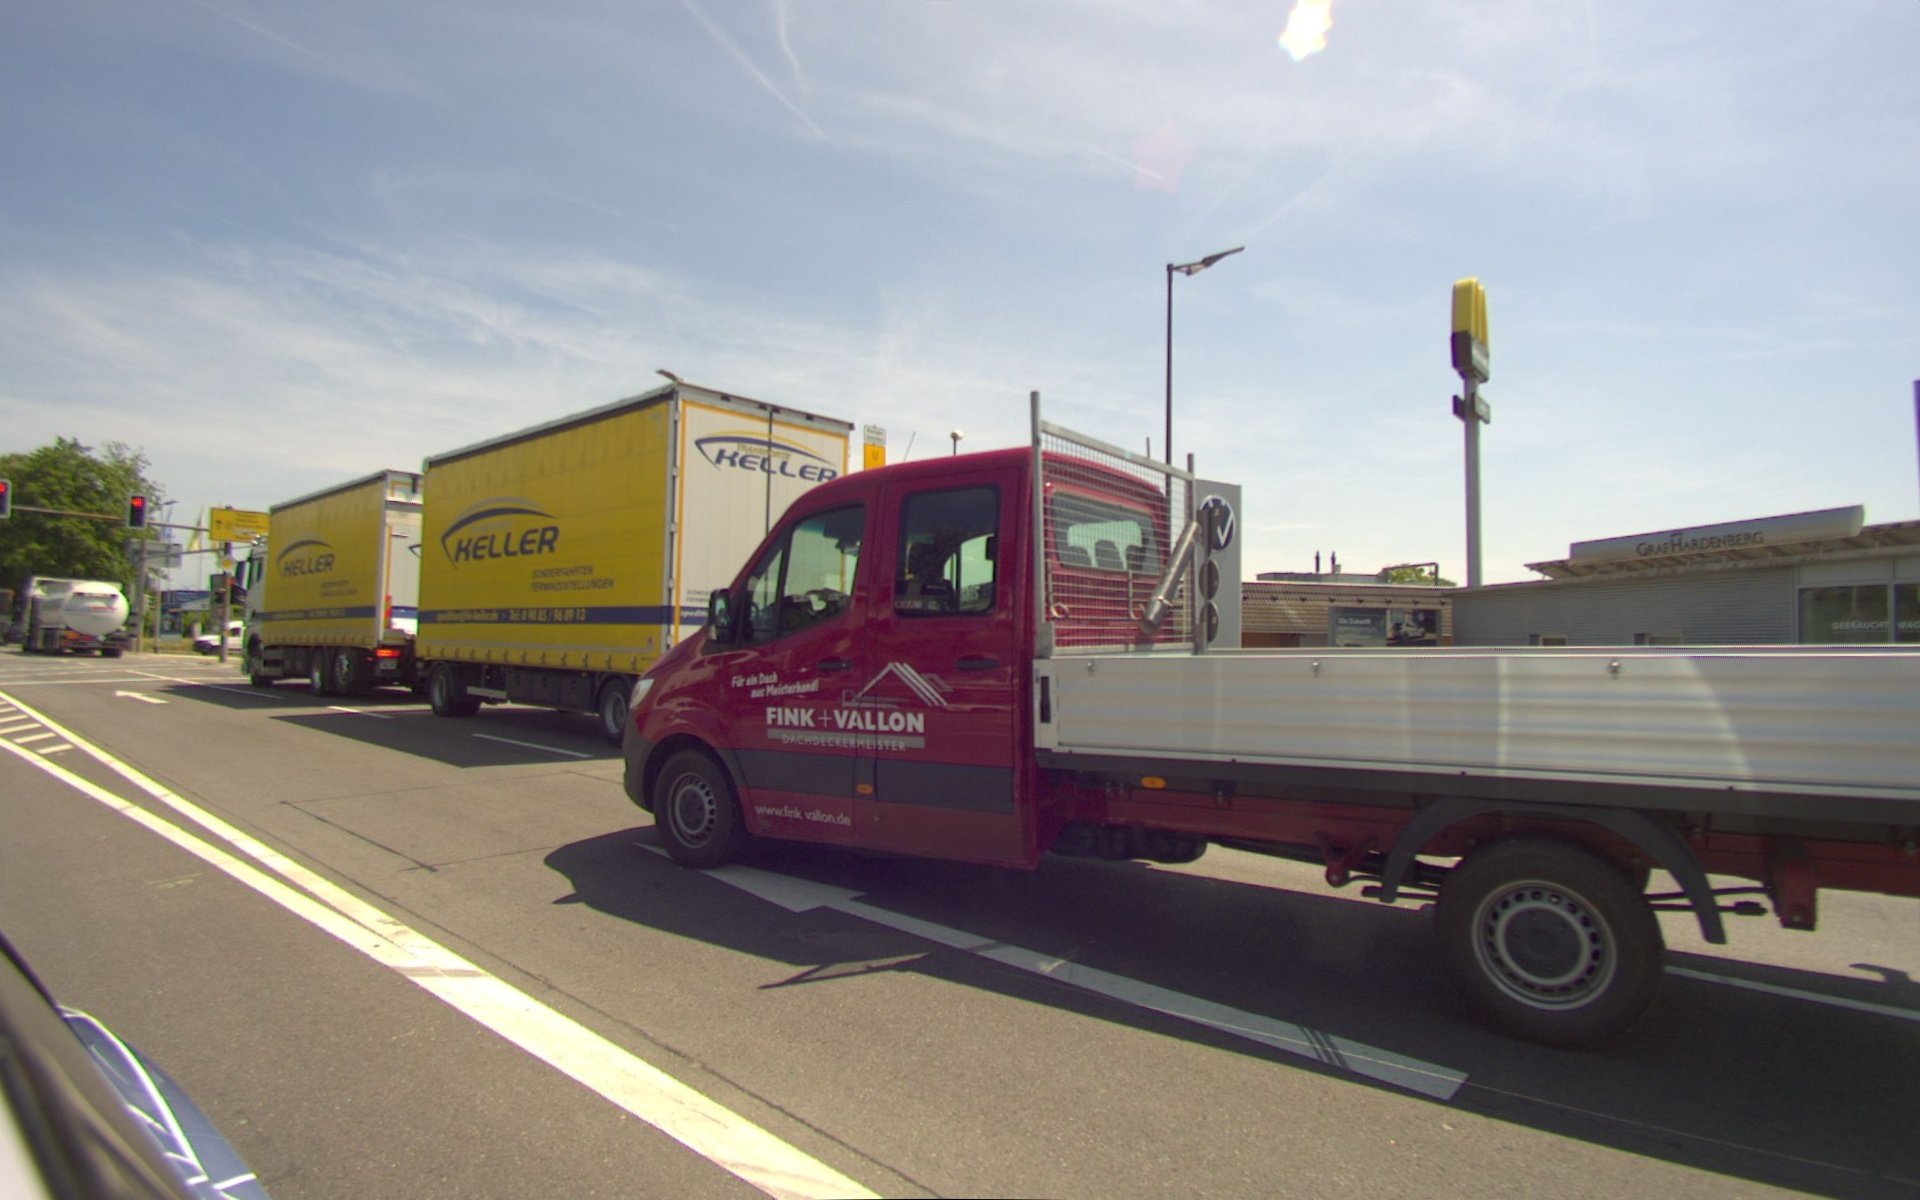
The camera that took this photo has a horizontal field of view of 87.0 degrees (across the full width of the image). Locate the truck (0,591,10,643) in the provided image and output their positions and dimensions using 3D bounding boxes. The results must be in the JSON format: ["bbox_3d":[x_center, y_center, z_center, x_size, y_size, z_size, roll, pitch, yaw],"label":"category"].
[{"bbox_3d":[-80.998,1.477,83.228,17.085,3.985,2.813,-2,-4,43],"label":"truck"}]

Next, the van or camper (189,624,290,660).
[{"bbox_3d":[-50.613,2.958,71.233,2.094,2.431,5.398,-1,-3,38],"label":"van or camper"}]

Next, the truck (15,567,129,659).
[{"bbox_3d":[-44.675,0.757,50.644,15.127,4.049,2.577,-2,-3,42],"label":"truck"}]

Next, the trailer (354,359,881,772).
[{"bbox_3d":[-5.687,-0.233,15.089,10.058,4.319,2.978,-2,-3,43],"label":"trailer"}]

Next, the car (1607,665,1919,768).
[{"bbox_3d":[13.301,1.874,17.058,1.742,1.426,3.991,1,-3,-10],"label":"car"}]

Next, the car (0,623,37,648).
[{"bbox_3d":[-61.190,2.284,65.518,4.153,1.439,1.665,0,-4,42],"label":"car"}]

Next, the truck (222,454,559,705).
[{"bbox_3d":[-12.338,-0.189,21.252,10.353,4.136,2.996,-1,-3,43],"label":"truck"}]

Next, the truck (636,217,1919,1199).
[{"bbox_3d":[1.114,0.347,5.233,6.874,2.463,2.369,-1,-1,44],"label":"truck"}]

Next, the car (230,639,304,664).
[{"bbox_3d":[-40.375,3.002,59.042,1.894,1.324,4.006,2,-3,-7],"label":"car"}]
